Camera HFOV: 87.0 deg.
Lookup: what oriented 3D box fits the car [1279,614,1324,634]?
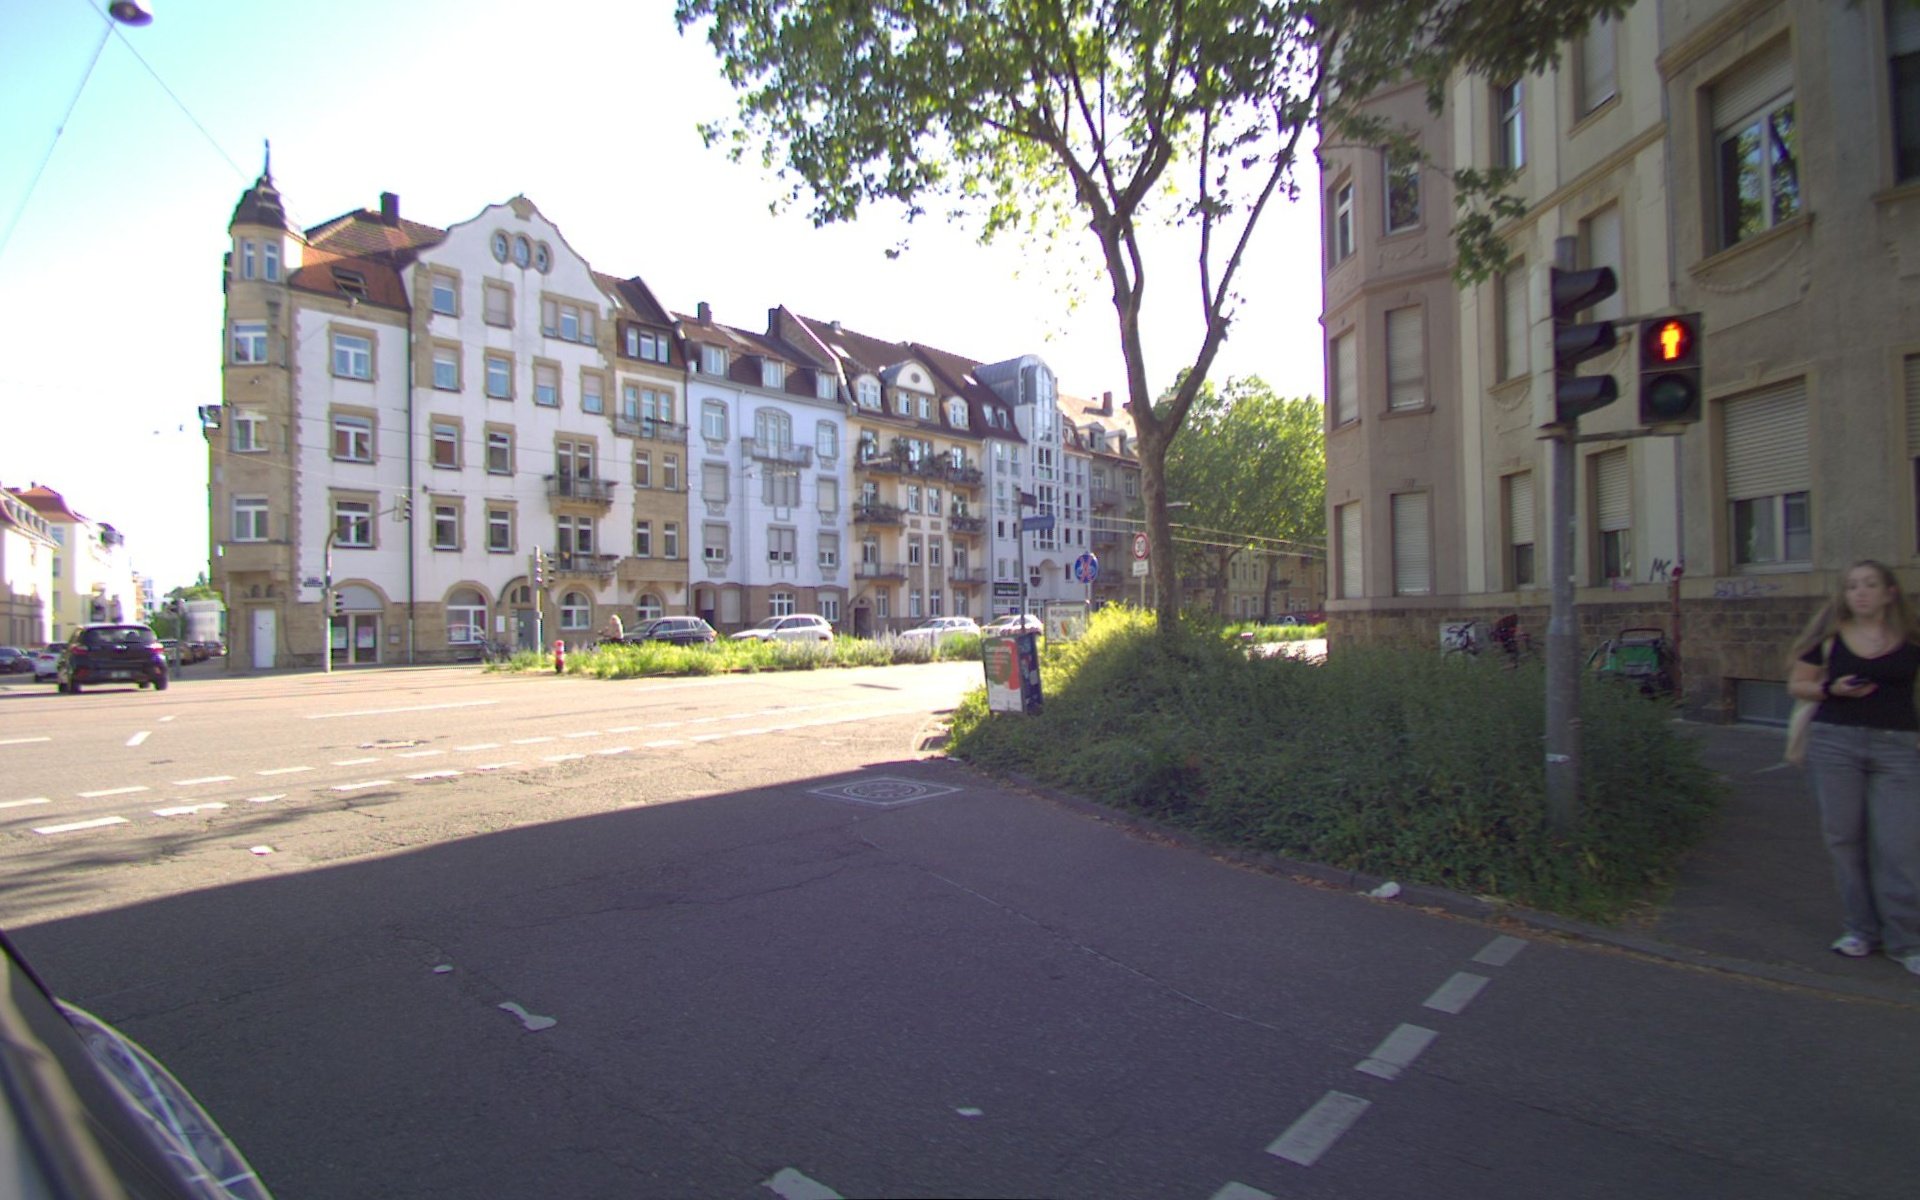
[{"bbox_3d":[33.893,2.346,100.602,3.757,1.719,1.845,-3,-1,2],"label":"car"}]

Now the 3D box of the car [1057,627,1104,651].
[{"bbox_3d":[8.667,2.804,72.477,1.643,1.600,3.354,-5,-4,43],"label":"car"}]

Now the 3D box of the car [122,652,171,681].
[{"bbox_3d":[-41.092,3.362,51.164,1.531,1.422,3.580,2,-4,-33],"label":"car"}]

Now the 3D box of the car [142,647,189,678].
[{"bbox_3d":[-49.747,3.881,63.432,1.887,1.671,4.357,-4,0,-34],"label":"car"}]

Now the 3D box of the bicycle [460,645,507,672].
[{"bbox_3d":[-20.958,2.569,44.517,0.610,1.142,1.786,-3,-3,41],"label":"bicycle"}]

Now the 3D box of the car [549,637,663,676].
[{"bbox_3d":[-13.817,2.184,39.626,1.766,1.400,3.841,-4,-3,42],"label":"car"}]

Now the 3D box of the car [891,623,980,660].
[{"bbox_3d":[-1.029,1.826,44.253,1.765,1.541,3.843,-3,-4,40],"label":"car"}]

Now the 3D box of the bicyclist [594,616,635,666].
[{"bbox_3d":[-11.152,1.314,32.662,0.687,1.554,1.059,-3,-3,42],"label":"bicyclist"}]

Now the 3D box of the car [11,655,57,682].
[{"bbox_3d":[-61.905,4.587,67.716,1.805,1.608,3.828,-3,-2,-37],"label":"car"}]

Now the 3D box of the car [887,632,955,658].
[{"bbox_3d":[-2.265,2.634,59.289,1.766,1.400,3.841,-3,-3,42],"label":"car"}]

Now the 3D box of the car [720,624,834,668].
[{"bbox_3d":[-6.815,1.700,37.961,1.766,1.541,3.963,-3,-3,42],"label":"car"}]

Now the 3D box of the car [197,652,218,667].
[{"bbox_3d":[-90.672,7.192,122.021,1.888,1.636,4.356,-4,0,-36],"label":"car"}]

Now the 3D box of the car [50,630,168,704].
[{"bbox_3d":[-18.909,1.430,22.436,3.810,1.475,1.642,-3,-2,45],"label":"car"}]

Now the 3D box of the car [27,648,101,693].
[{"bbox_3d":[-32.363,2.530,36.520,1.785,1.469,4.002,1,-3,-45],"label":"car"}]

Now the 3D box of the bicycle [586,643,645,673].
[{"bbox_3d":[-11.114,1.866,32.676,0.795,0.932,1.614,-4,-3,42],"label":"bicycle"}]

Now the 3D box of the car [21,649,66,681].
[{"bbox_3d":[-64.548,4.557,71.350,1.804,2.050,3.829,-3,-2,-35],"label":"car"}]

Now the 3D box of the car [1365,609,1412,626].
[{"bbox_3d":[49.487,1.988,116.963,4.533,1.719,1.844,-3,-1,4],"label":"car"}]

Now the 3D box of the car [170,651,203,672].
[{"bbox_3d":[-64.777,5.106,84.798,1.887,1.529,4.357,-4,0,-34],"label":"car"}]

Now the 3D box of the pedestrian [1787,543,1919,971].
[{"bbox_3d":[4.051,0.624,4.254,0.684,1.695,0.682,0,-2,-36],"label":"pedestrian"}]

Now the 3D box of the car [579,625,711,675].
[{"bbox_3d":[-11.467,1.823,37.049,2.000,1.657,4.181,-5,-4,42],"label":"car"}]

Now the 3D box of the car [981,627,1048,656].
[{"bbox_3d":[2.853,2.133,52.502,1.592,1.387,3.652,-2,-2,40],"label":"car"}]
